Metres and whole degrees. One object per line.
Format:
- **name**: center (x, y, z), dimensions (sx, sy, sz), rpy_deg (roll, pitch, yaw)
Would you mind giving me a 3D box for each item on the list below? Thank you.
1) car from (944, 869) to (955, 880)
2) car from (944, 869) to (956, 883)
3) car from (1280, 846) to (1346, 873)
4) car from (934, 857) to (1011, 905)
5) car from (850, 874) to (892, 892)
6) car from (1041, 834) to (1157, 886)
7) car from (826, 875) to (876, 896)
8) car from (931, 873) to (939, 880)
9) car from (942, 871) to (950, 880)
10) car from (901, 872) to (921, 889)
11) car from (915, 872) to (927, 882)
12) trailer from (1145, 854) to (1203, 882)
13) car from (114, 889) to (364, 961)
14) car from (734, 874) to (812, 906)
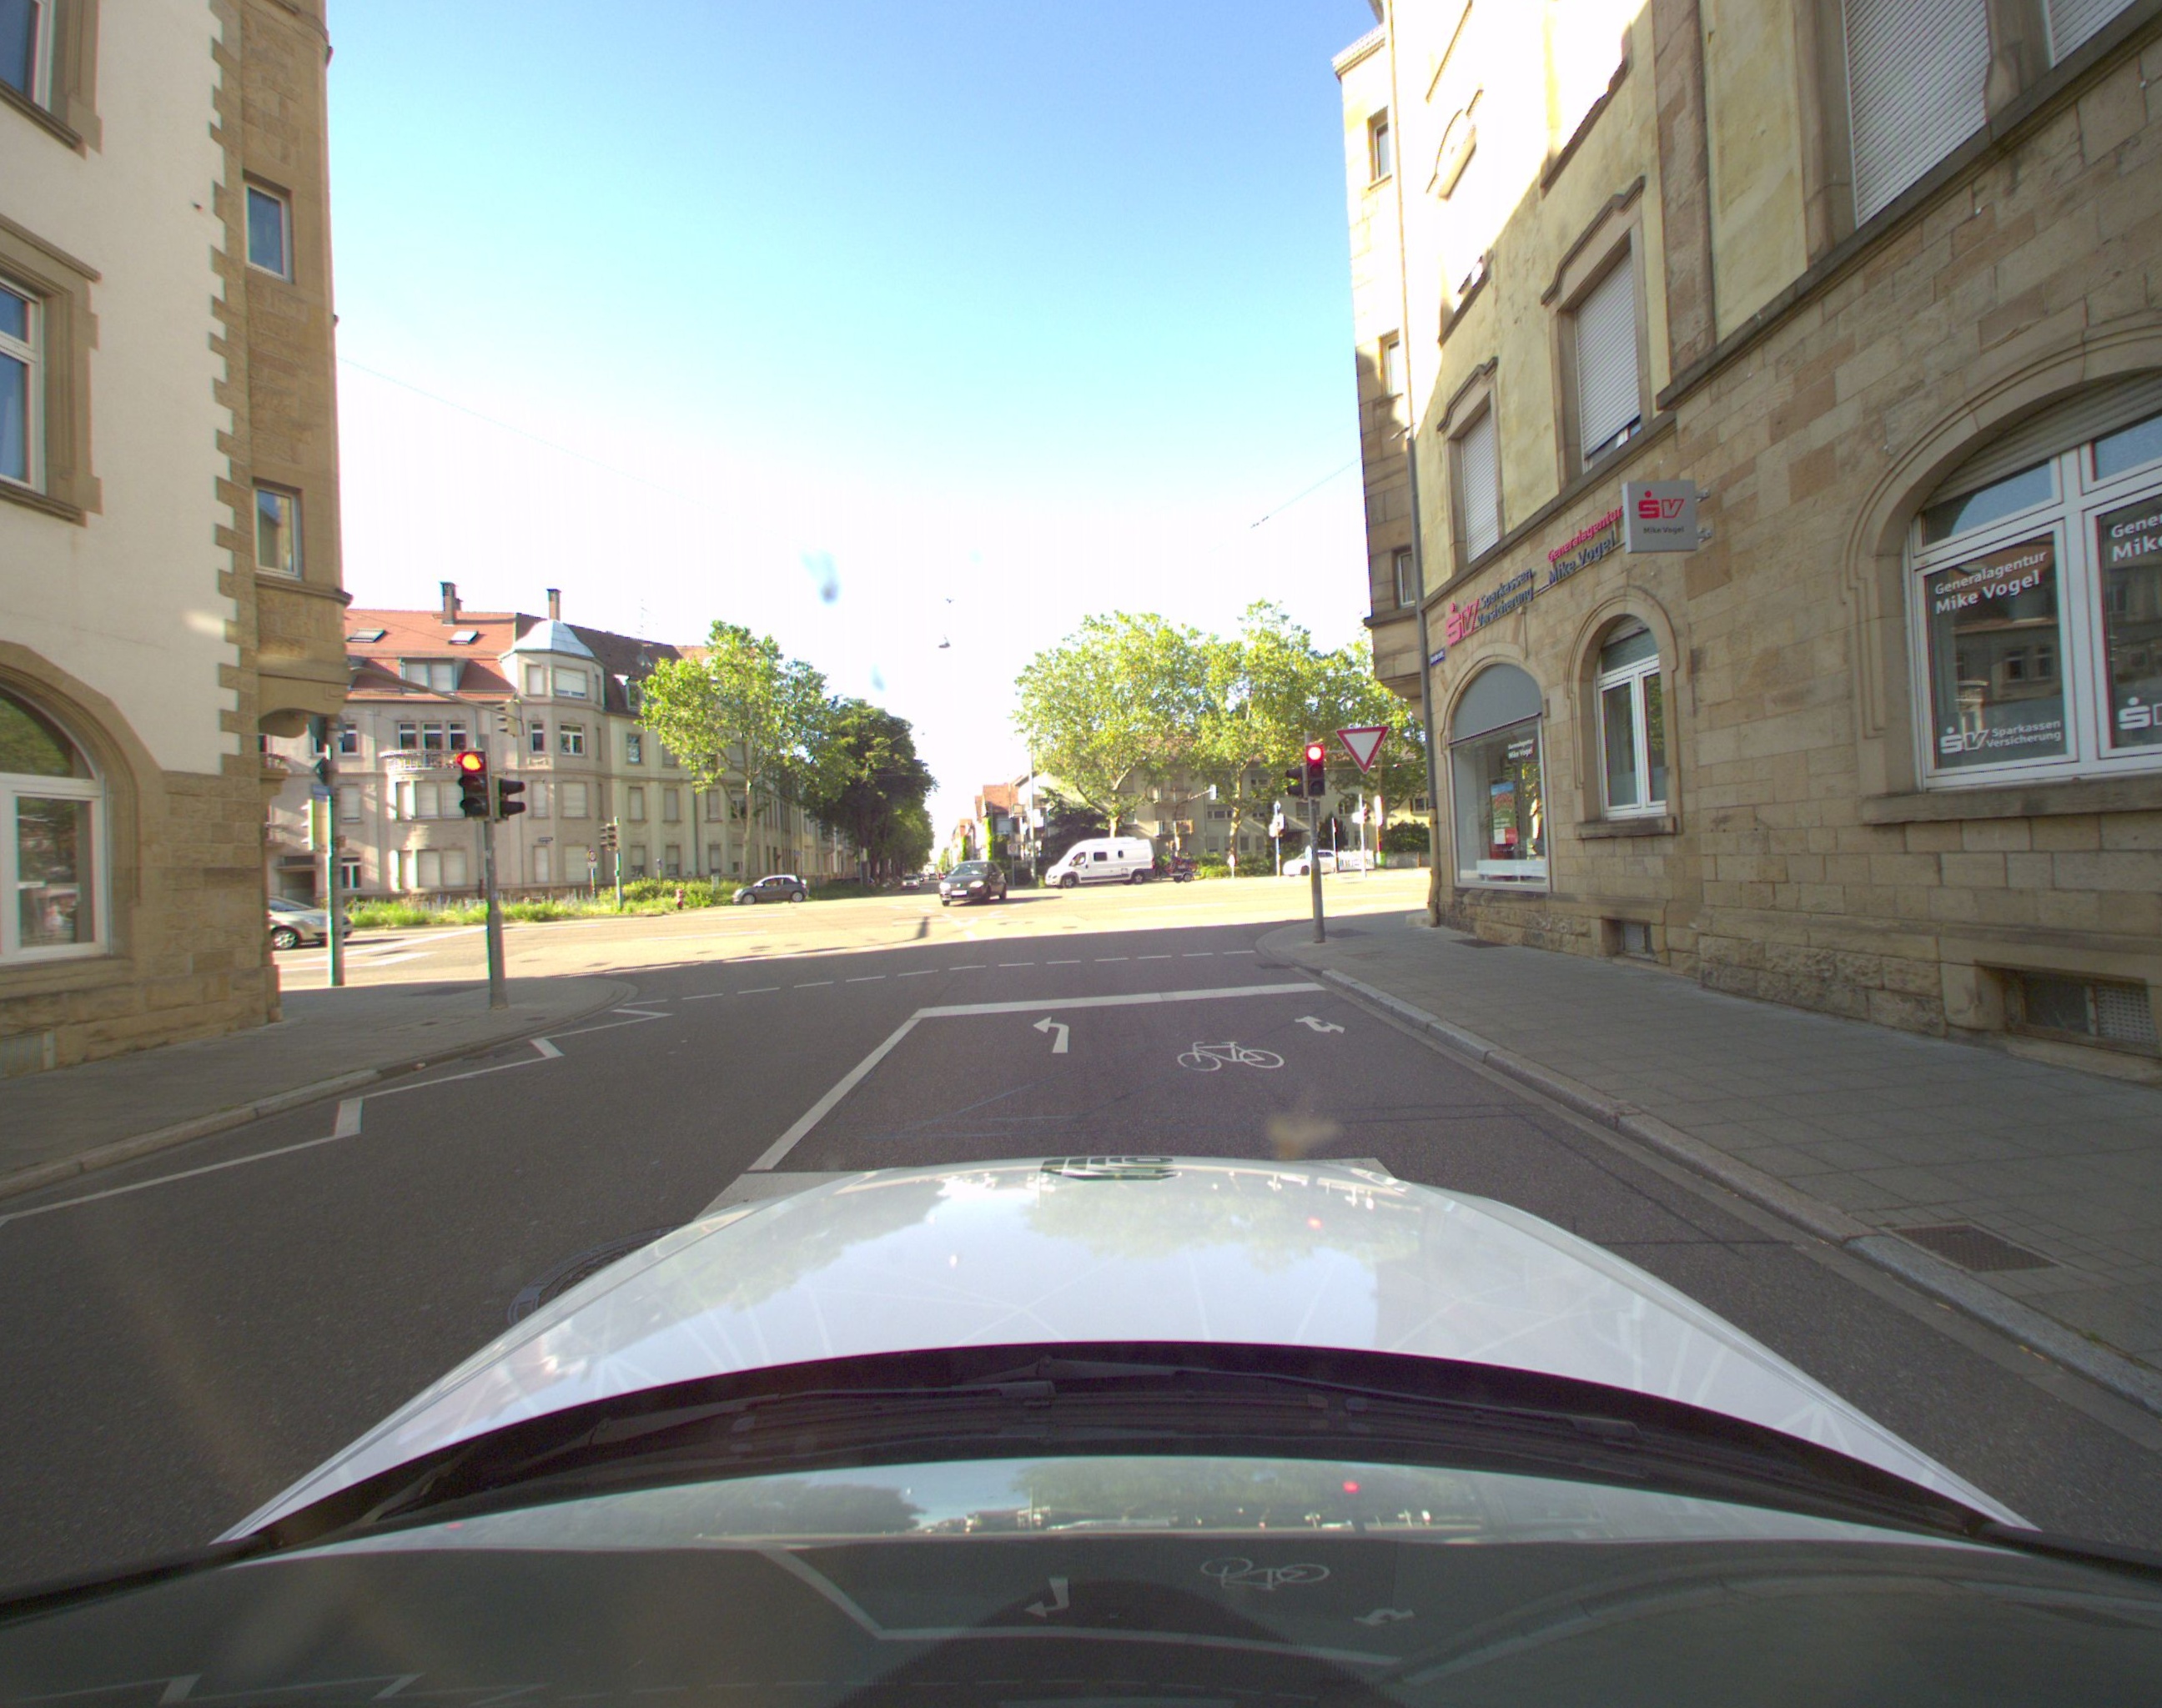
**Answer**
- **car**: center (-23.747, 3.700, 147.189), dimensions (1.773, 1.918, 3.522), rpy_deg (-4, 0, -10)
- **car**: center (-20.739, 3.476, 128.820), dimensions (1.773, 1.918, 3.522), rpy_deg (-4, 0, -10)
- **car**: center (13.993, 0.338, 49.152), dimensions (3.641, 1.457, 1.494), rpy_deg (-2, 0, -18)
- **car**: center (-3.672, 0.887, 28.161), dimensions (1.642, 1.457, 3.652), rpy_deg (-2, 0, 8)
- **car**: center (-19.290, 2.639, 74.935), dimensions (3.636, 1.457, 1.650), rpy_deg (-2, 0, -14)
- **car**: center (1.021, 0.323, 45.494), dimensions (6.123, 2.637, 1.884), rpy_deg (-2, -1, -17)
- **car**: center (-17.949, 2.468, 63.718), dimensions (3.636, 1.457, 1.650), rpy_deg (-2, 0, -14)
- **car**: center (-32.702, 5.077, 182.821), dimensions (1.698, 1.483, 3.522), rpy_deg (-4, 0, -10)
- **car**: center (-30.122, 4.807, 181.732), dimensions (1.773, 1.918, 3.522), rpy_deg (-4, 0, -10)
- **car**: center (-16.756, 2.571, 80.421), dimensions (1.698, 1.483, 3.522), rpy_deg (-4, 0, -10)
- **car**: center (-26.383, 3.841, 134.610), dimensions (1.698, 1.483, 3.522), rpy_deg (-4, 0, -10)
- **trailer**: center (5.337, 0.779, 46.994), dimensions (2.955, 1.457, 1.505), rpy_deg (-2, 0, -18)
- **car**: center (-21.917, 1.810, 21.417), dimensions (4.212, 1.456, 1.669), rpy_deg (-3, 0, -17)
- **car**: center (-15.842, 1.824, 42.091), dimensions (3.641, 1.457, 1.647), rpy_deg (-2, 0, -18)
